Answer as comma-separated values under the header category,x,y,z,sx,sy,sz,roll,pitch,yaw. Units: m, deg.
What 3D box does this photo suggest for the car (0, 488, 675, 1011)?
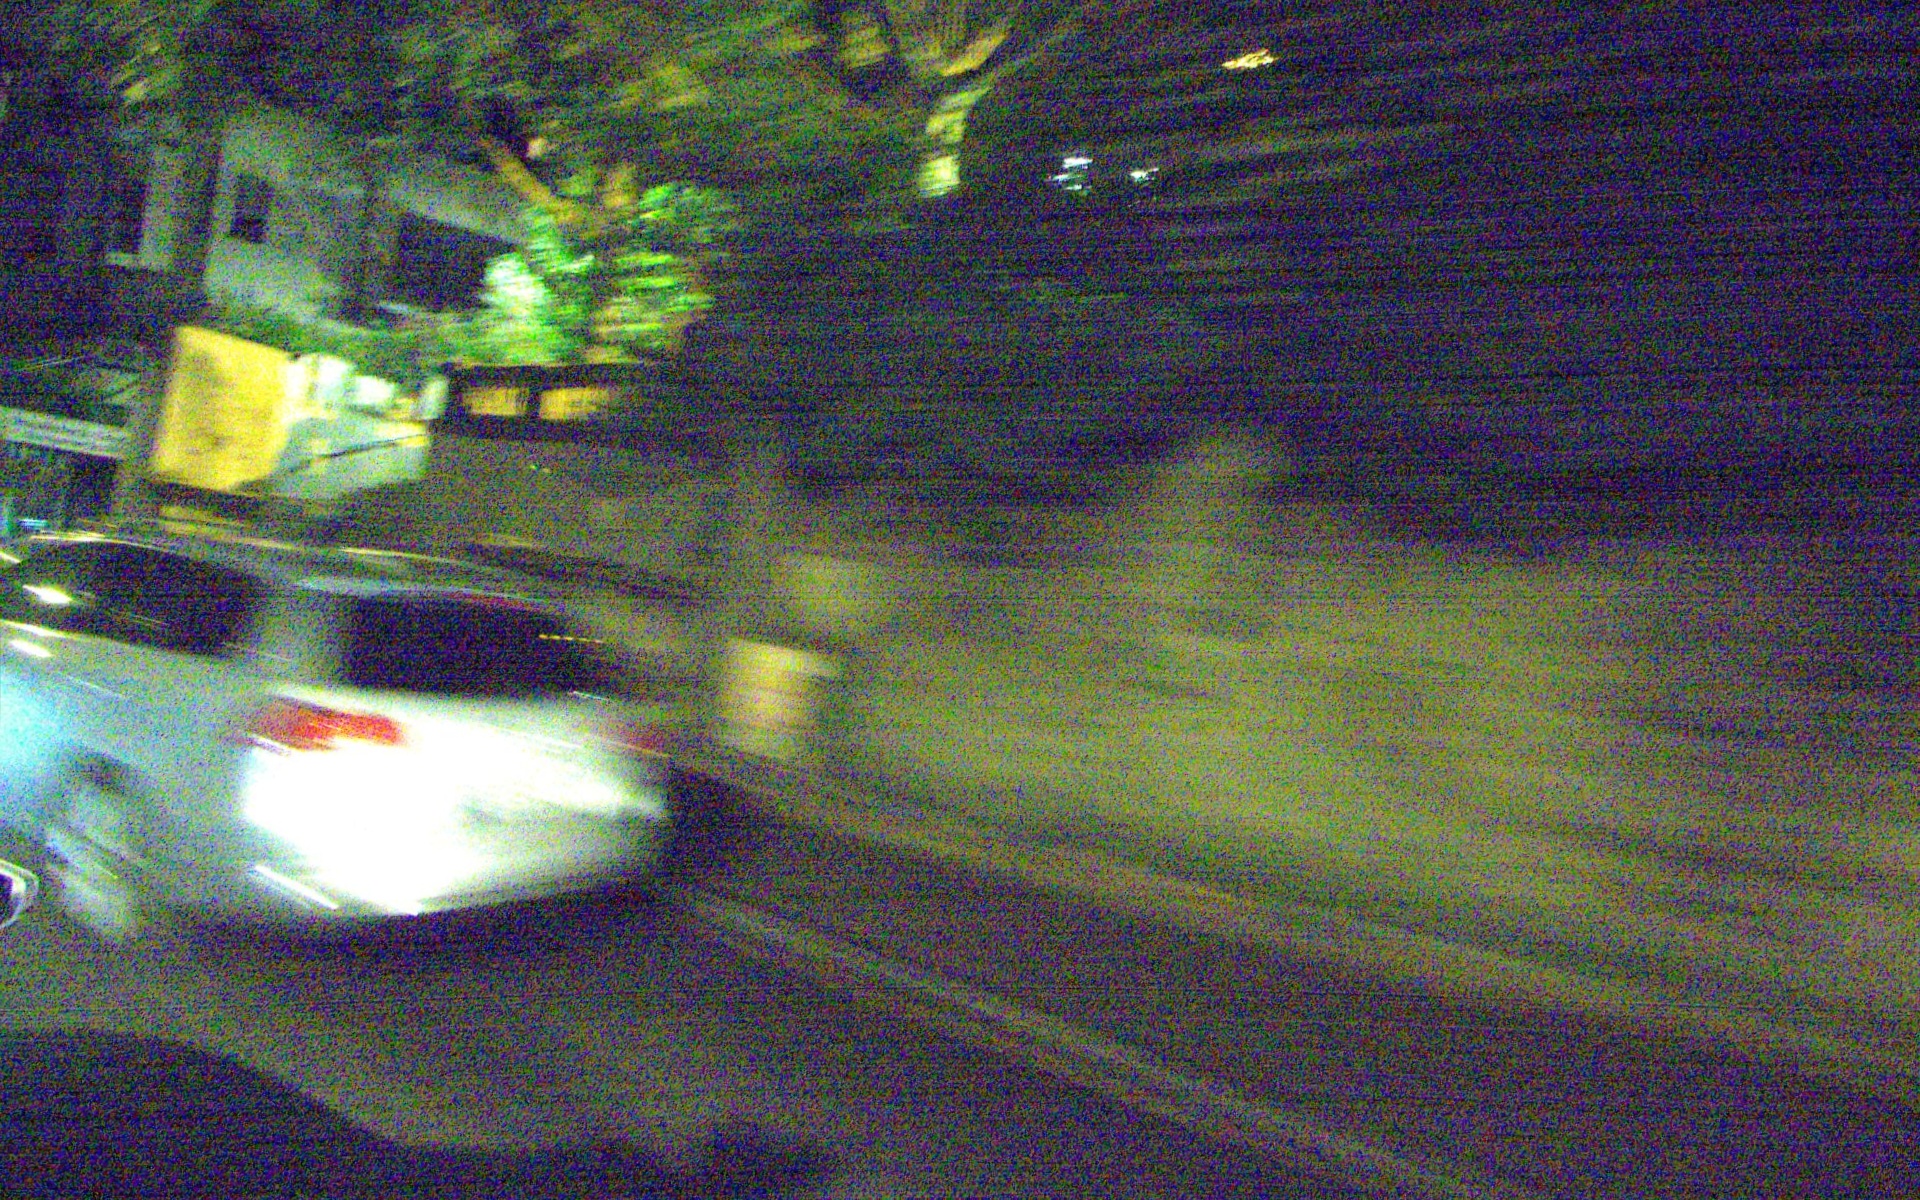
category,x,y,z,sx,sy,sz,roll,pitch,yaw
car,-3.655,0.381,4.836,4.202,1.492,1.769,7,-3,28
